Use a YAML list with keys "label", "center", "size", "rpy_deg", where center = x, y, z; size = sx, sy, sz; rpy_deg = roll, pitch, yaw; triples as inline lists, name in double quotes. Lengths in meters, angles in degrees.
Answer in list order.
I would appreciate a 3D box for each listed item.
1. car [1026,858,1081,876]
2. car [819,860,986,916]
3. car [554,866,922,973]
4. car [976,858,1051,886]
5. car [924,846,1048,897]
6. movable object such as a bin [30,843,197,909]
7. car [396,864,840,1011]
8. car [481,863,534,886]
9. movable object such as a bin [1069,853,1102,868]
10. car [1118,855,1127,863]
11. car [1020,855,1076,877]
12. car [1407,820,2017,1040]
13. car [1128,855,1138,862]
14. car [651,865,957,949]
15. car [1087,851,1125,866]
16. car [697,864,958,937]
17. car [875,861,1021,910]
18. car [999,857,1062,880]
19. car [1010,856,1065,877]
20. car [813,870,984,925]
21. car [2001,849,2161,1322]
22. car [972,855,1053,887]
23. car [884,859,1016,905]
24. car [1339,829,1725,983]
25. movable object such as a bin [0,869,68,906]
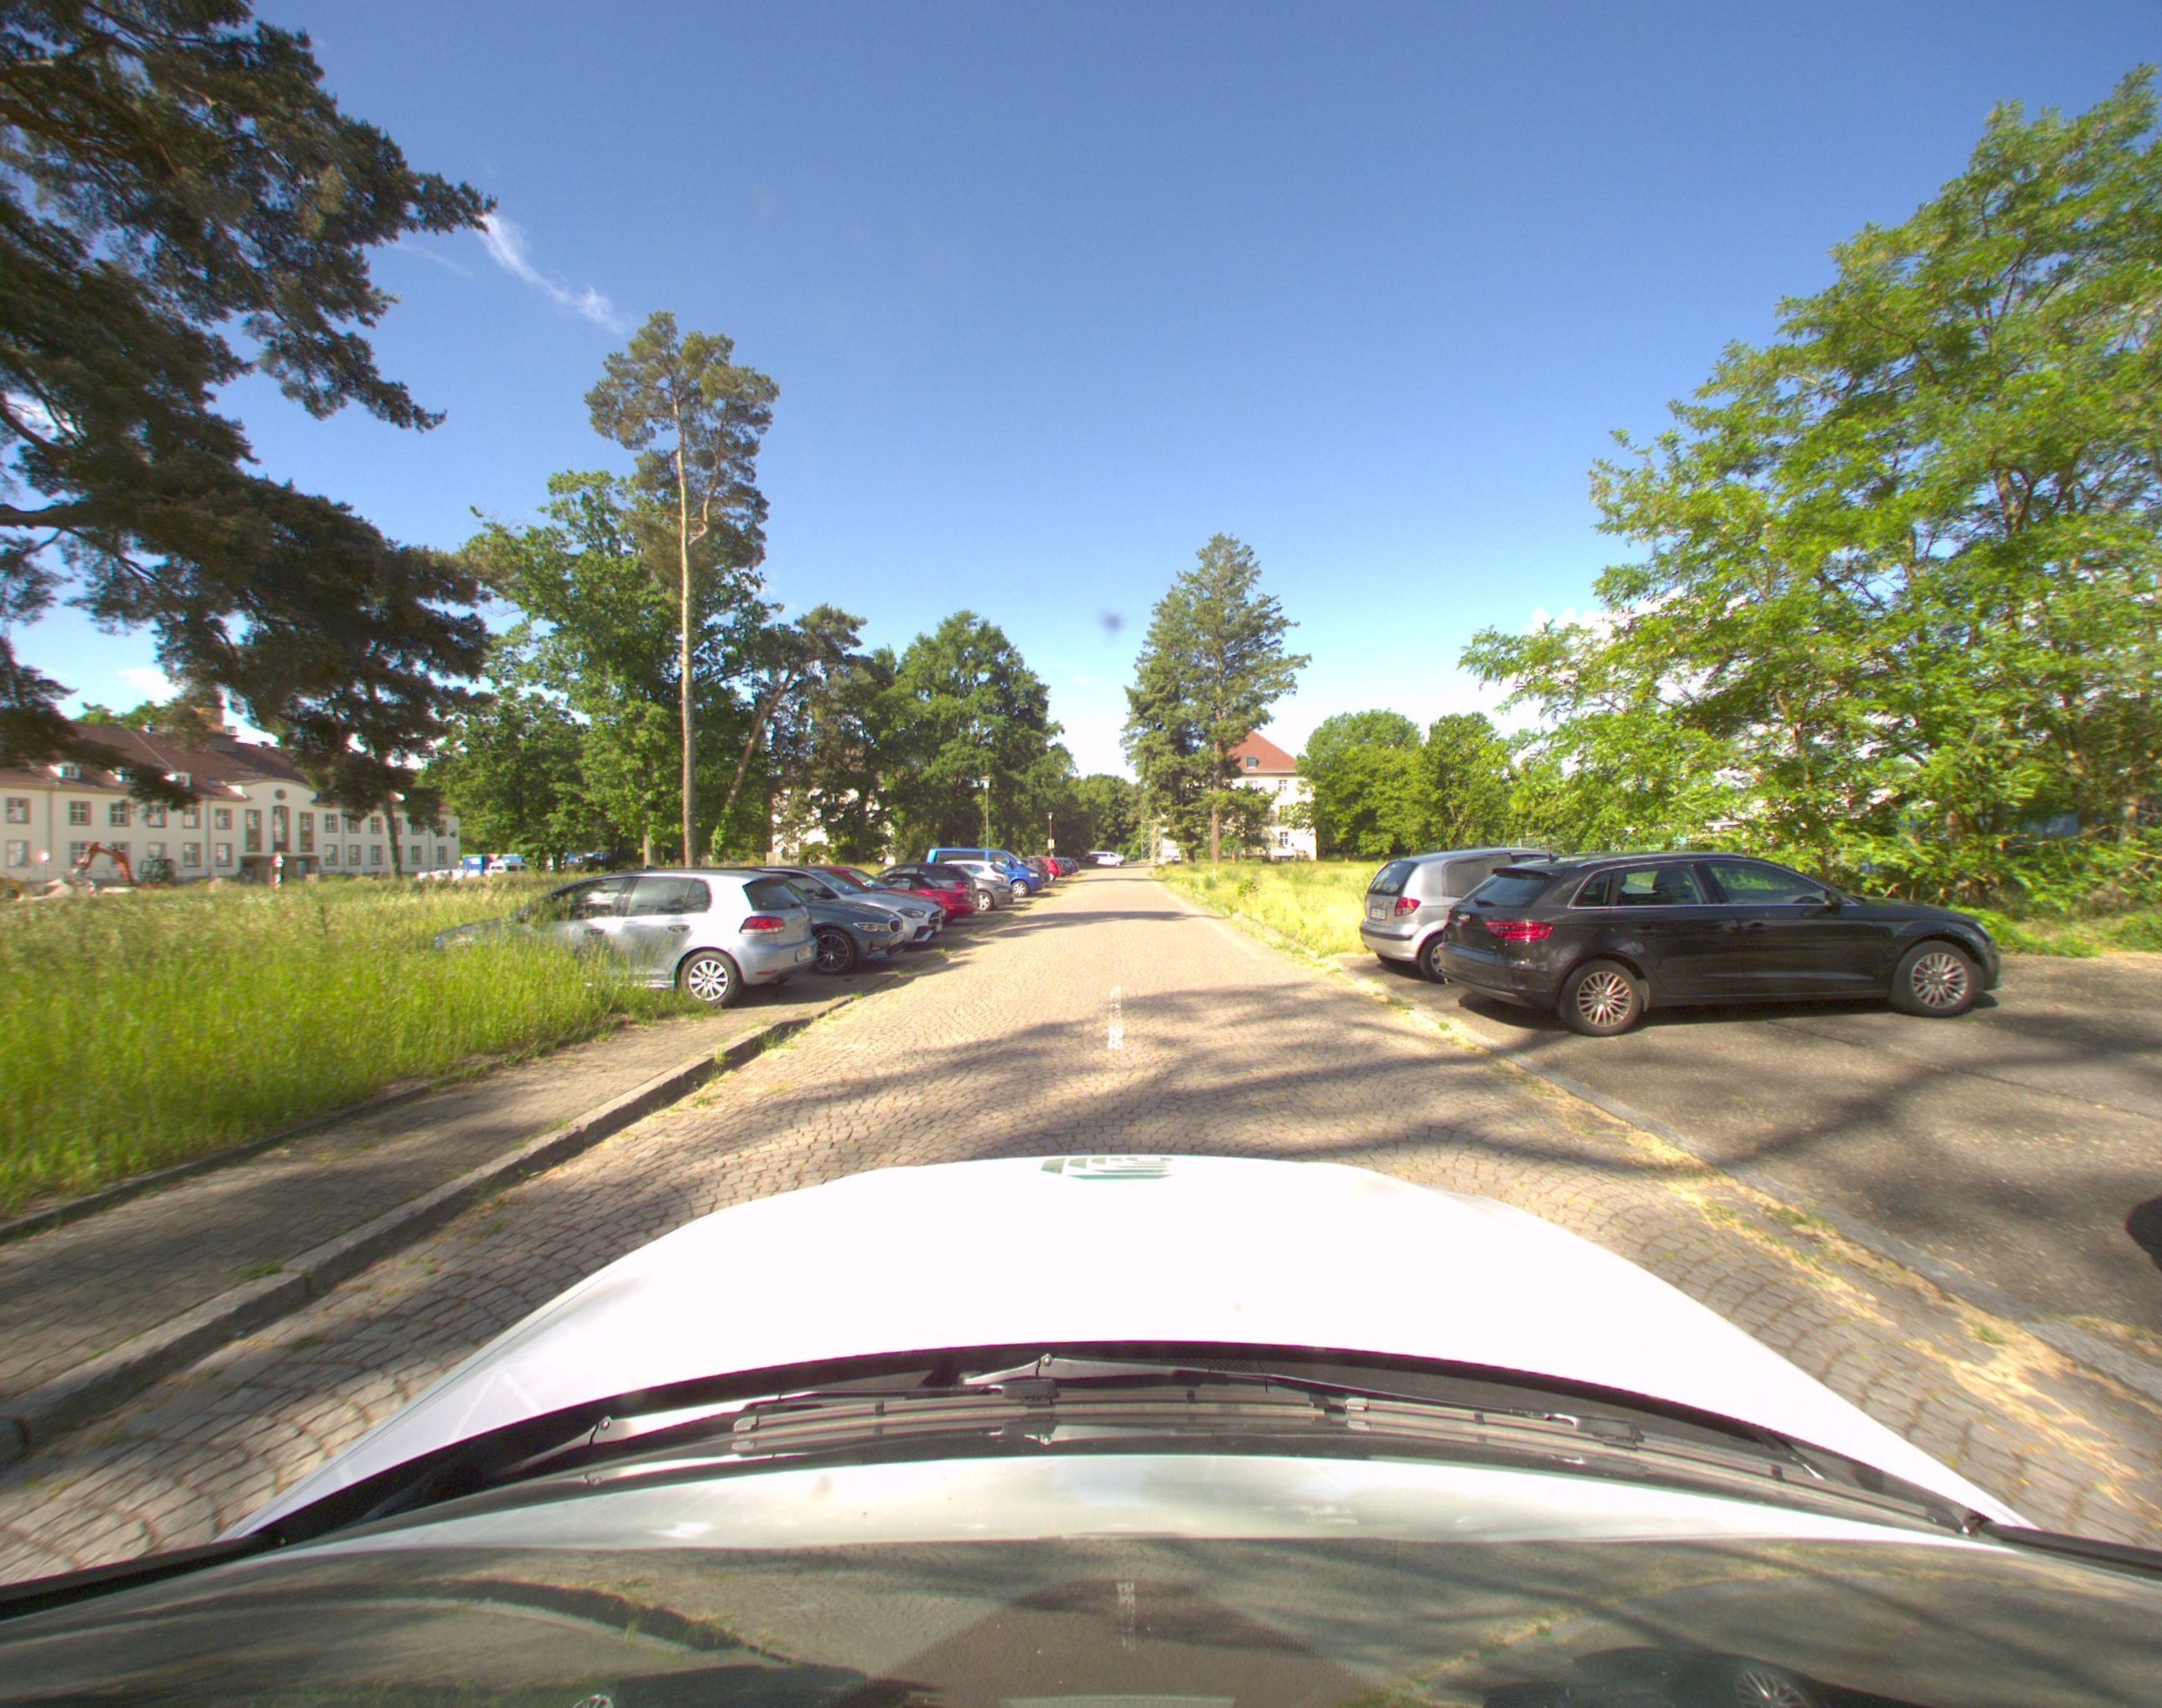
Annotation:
- label: "car"
  center: [-2.258, 1.076, 67.384]
  size: [4.339, 1.445, 1.923]
  rpy_deg: [0, 0, 5]
- label: "car"
  center: [-4.768, 0.907, 22.124]
  size: [4.059, 1.452, 1.823]
  rpy_deg: [0, -1, 3]
- label: "car"
  center: [-4.840, 0.900, 12.071]
  size: [4.568, 1.452, 1.983]
  rpy_deg: [0, -1, -2]
- label: "car"
  center: [-3.658, 0.964, 44.844]
  size: [3.910, 1.449, 1.867]
  rpy_deg: [0, 0, 0]
- label: "car"
  center: [-3.800, 0.693, 33.155]
  size: [4.699, 1.968, 2.006]
  rpy_deg: [0, 0, 2]
- label: "movable object such as a bin"
  center: [-60.196, 1.296, 51.001]
  size: [3.933, 3.731, 6.742]
  rpy_deg: [-1, 0, -22]
- label: "car"
  center: [-5.114, 0.881, 9.457]
  size: [4.013, 1.483, 1.949]
  rpy_deg: [0, 0, 0]
- label: "car"
  center: [-64.510, 2.266, 91.753]
  size: [1.976, 2.436, 5.281]
  rpy_deg: [-2, 0, 3]
- label: "movable object such as a bin"
  center: [0.561, 0.830, 103.118]
  size: [3.535, 1.744, 2.035]
  rpy_deg: [-2, 0, 21]
- label: "car"
  center: [9.271, 1.135, 182.033]
  size: [1.805, 1.579, 4.136]
  rpy_deg: [-2, 0, 2]
- label: "car"
  center: [-2.514, 0.909, 62.704]
  size: [4.119, 1.579, 1.885]
  rpy_deg: [-1, 0, 2]
- label: "car"
  center: [5.316, 0.593, 7.304]
  size: [3.991, 1.441, 1.844]
  rpy_deg: [-4, 0, 0]
- label: "car"
  center: [11.677, 1.022, 182.259]
  size: [1.963, 1.668, 4.088]
  rpy_deg: [-2, 0, 2]
- label: "car"
  center: [-4.860, 0.912, 14.795]
  size: [4.845, 1.421, 1.939]
  rpy_deg: [0, -1, 2]
- label: "car"
  center: [3.571, 0.592, 116.136]
  size: [5.215, 2.016, 1.951]
  rpy_deg: [-1, 0, 1]
- label: "car"
  center: [-5.192, 0.923, 17.150]
  size: [4.845, 1.421, 1.940]
  rpy_deg: [0, 0, 2]
- label: "car"
  center: [-4.003, 0.927, 24.988]
  size: [4.059, 1.425, 1.925]
  rpy_deg: [0, 0, 3]
- label: "car"
  center: [-3.236, 0.905, 52.432]
  size: [3.910, 1.461, 1.842]
  rpy_deg: [0, 0, 0]
- label: "car"
  center: [-3.200, 0.911, 60.326]
  size: [3.906, 1.433, 1.844]
  rpy_deg: [-1, 0, 3]
- label: "car"
  center: [-4.276, 1.012, 19.436]
  size: [3.615, 1.234, 1.761]
  rpy_deg: [0, -1, 3]
- label: "car"
  center: [5.613, 0.605, 2.059]
  size: [4.499, 1.465, 1.838]
  rpy_deg: [-3, -1, -1]
- label: "car"
  center: [-3.485, 0.848, 42.105]
  size: [3.940, 1.567, 1.974]
  rpy_deg: [0, 0, 0]
- label: "car"
  center: [-4.415, 0.933, 27.886]
  size: [4.180, 1.475, 1.825]
  rpy_deg: [0, 0, 2]
- label: "car"
  center: [5.354, 0.592, 10.051]
  size: [3.728, 1.476, 1.752]
  rpy_deg: [-4, 0, 0]
- label: "movable object such as a bin"
  center: [-65.467, 2.071, 48.712]
  size: [5.711, 2.125, 2.498]
  rpy_deg: [-1, -1, -42]
